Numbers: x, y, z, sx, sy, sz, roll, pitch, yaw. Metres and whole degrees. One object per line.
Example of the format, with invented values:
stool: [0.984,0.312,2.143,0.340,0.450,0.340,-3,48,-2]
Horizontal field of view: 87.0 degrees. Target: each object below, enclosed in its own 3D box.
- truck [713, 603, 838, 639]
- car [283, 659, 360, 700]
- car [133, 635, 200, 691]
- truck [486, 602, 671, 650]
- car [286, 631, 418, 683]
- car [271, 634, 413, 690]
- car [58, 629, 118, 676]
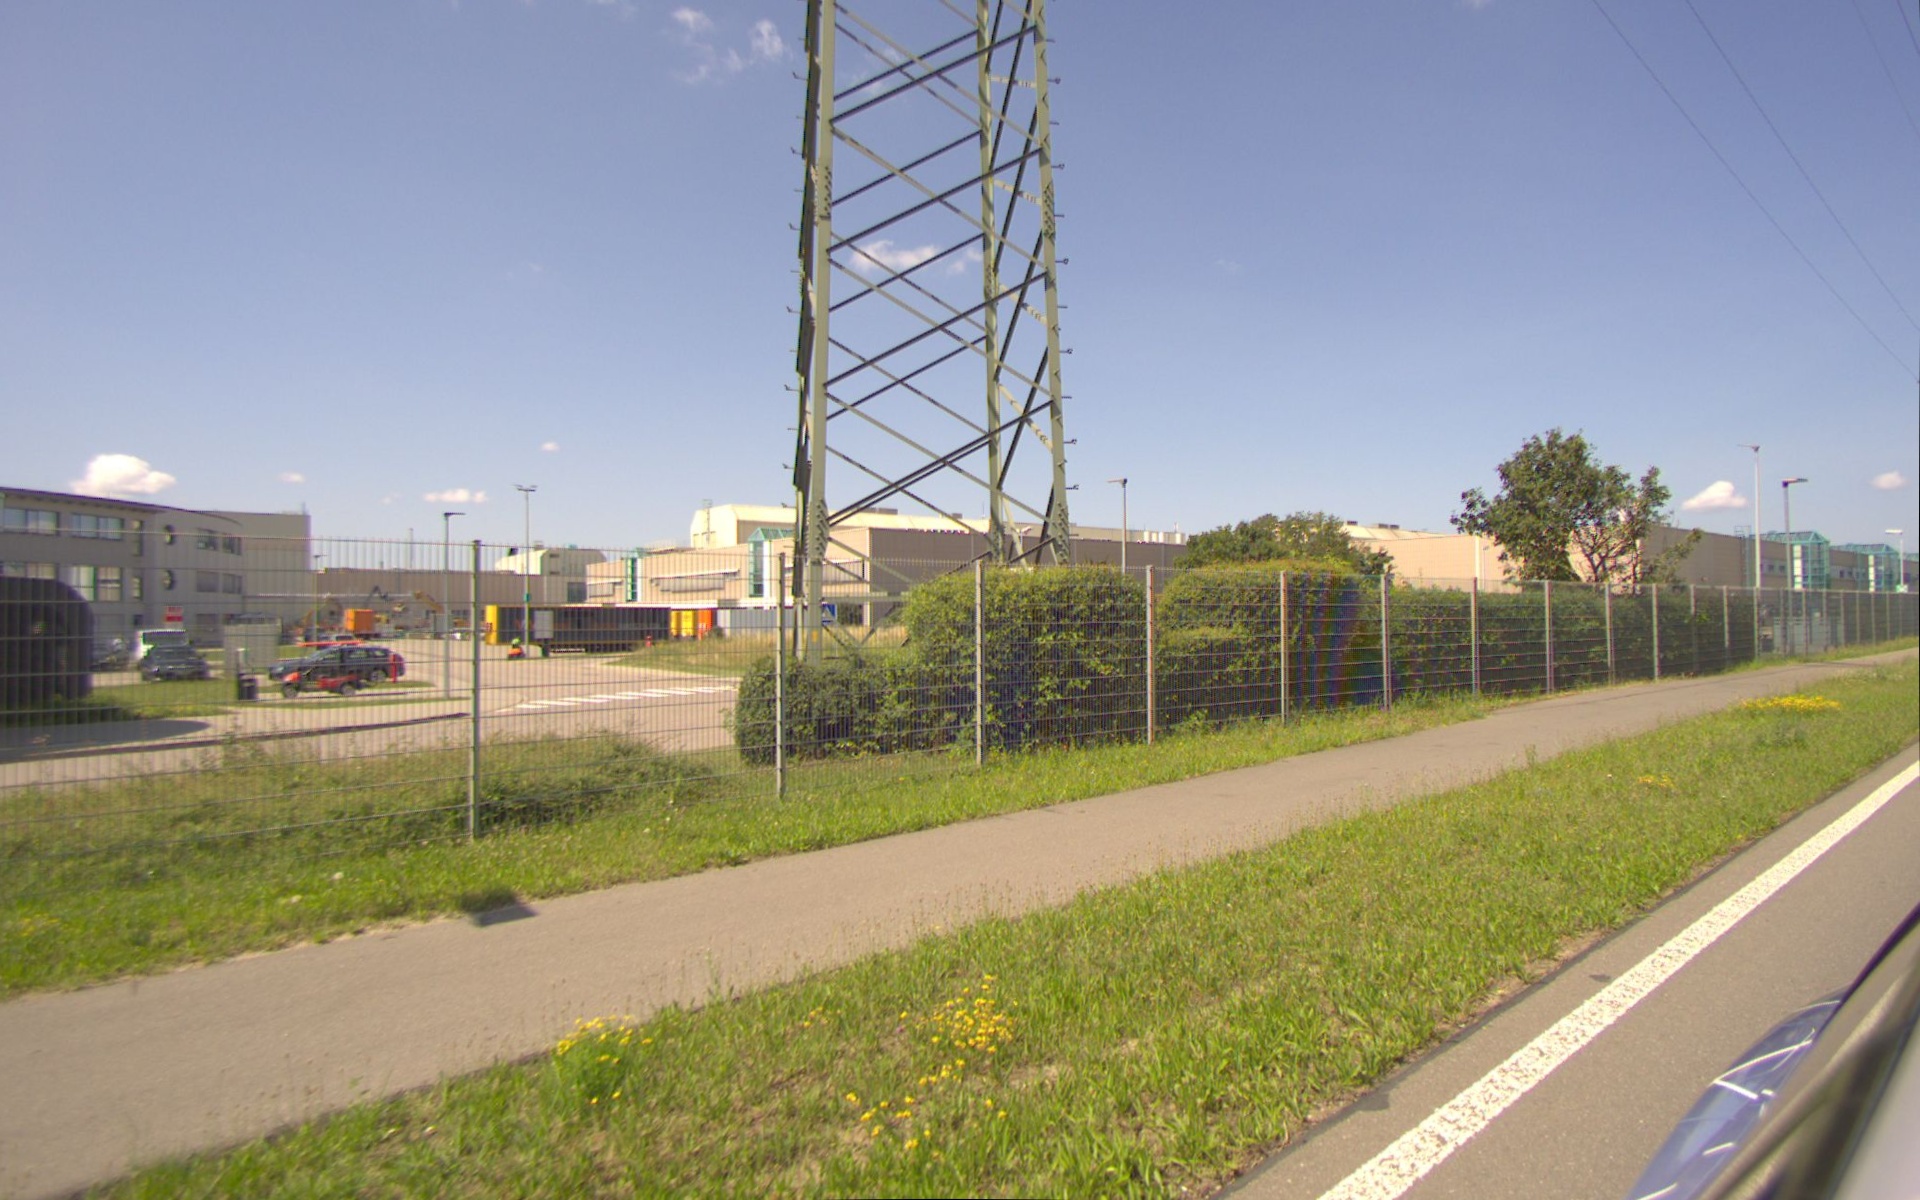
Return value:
truck: [-16.504,1.869,91.545,11.638,3.000,1.997,0,-2,-39]
car: [-21.576,2.658,34.215,2.153,1.168,1.199,0,1,-35]
car: [-31.531,2.455,40.172,1.964,2.040,4.746,0,-2,-40]
truck: [-28.969,1.880,77.667,13.384,3.405,1.997,0,-2,-39]
car: [-26.226,2.398,43.703,4.668,2.040,1.997,0,-2,-39]
car: [-24.862,2.440,40.777,4.668,2.040,1.997,0,-2,-39]
car: [-39.969,2.374,46.481,1.964,2.040,4.746,0,-2,-40]
